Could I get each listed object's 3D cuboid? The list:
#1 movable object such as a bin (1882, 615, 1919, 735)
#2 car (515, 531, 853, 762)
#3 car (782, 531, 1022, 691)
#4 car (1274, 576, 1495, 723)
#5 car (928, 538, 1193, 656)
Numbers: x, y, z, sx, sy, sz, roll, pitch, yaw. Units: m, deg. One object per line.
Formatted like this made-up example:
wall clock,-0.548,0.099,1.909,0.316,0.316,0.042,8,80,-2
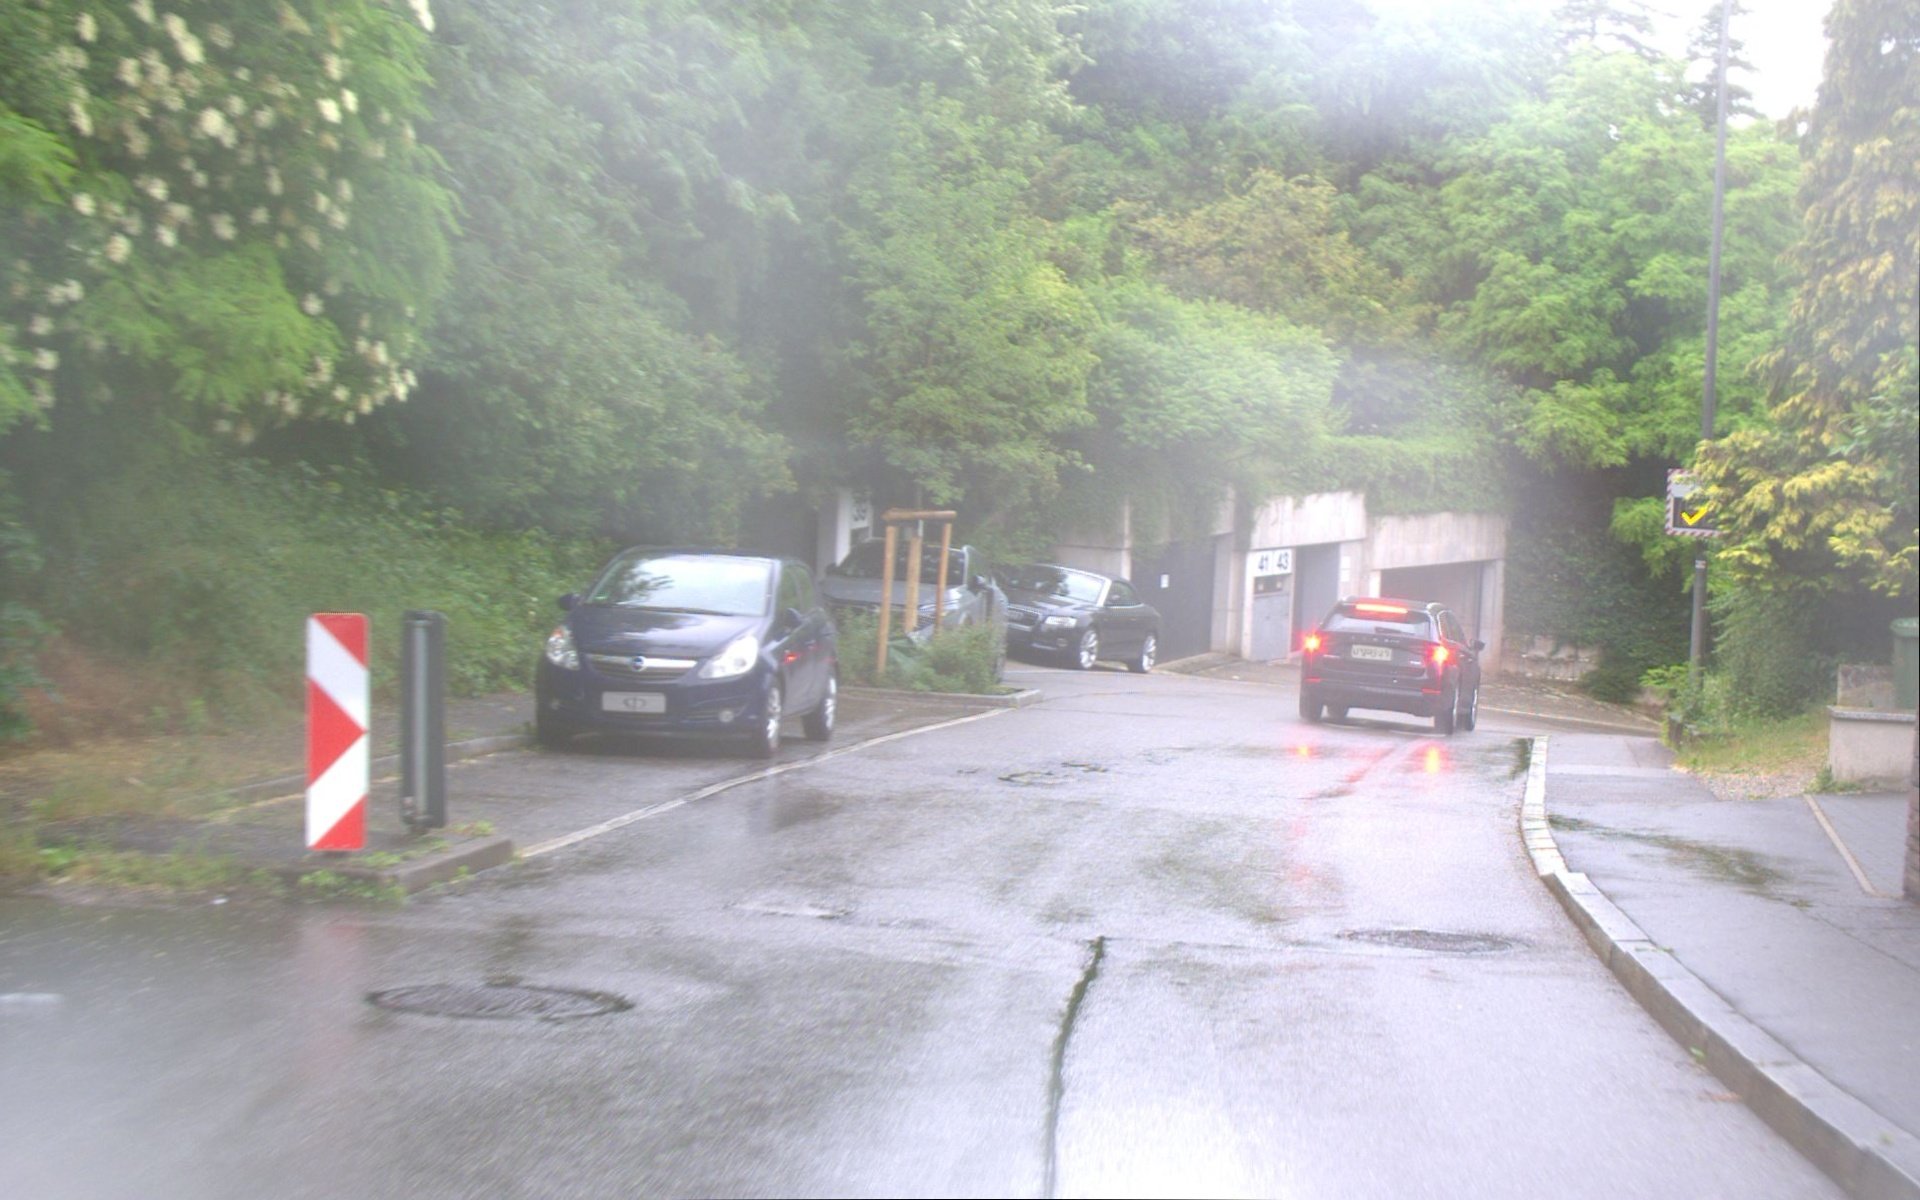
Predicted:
movable object such as a bin,8.733,0.679,31.247,0.561,1.063,0.701,2,0,7
car,-1.944,0.276,25.353,1.700,1.466,3.999,3,1,6
car,-0.609,0.109,39.649,1.994,1.635,3.998,3,1,9
car,4.959,0.580,39.715,1.870,1.507,4.089,3,0,16
car,1.499,-0.020,49.053,1.996,1.503,4.564,4,1,26
